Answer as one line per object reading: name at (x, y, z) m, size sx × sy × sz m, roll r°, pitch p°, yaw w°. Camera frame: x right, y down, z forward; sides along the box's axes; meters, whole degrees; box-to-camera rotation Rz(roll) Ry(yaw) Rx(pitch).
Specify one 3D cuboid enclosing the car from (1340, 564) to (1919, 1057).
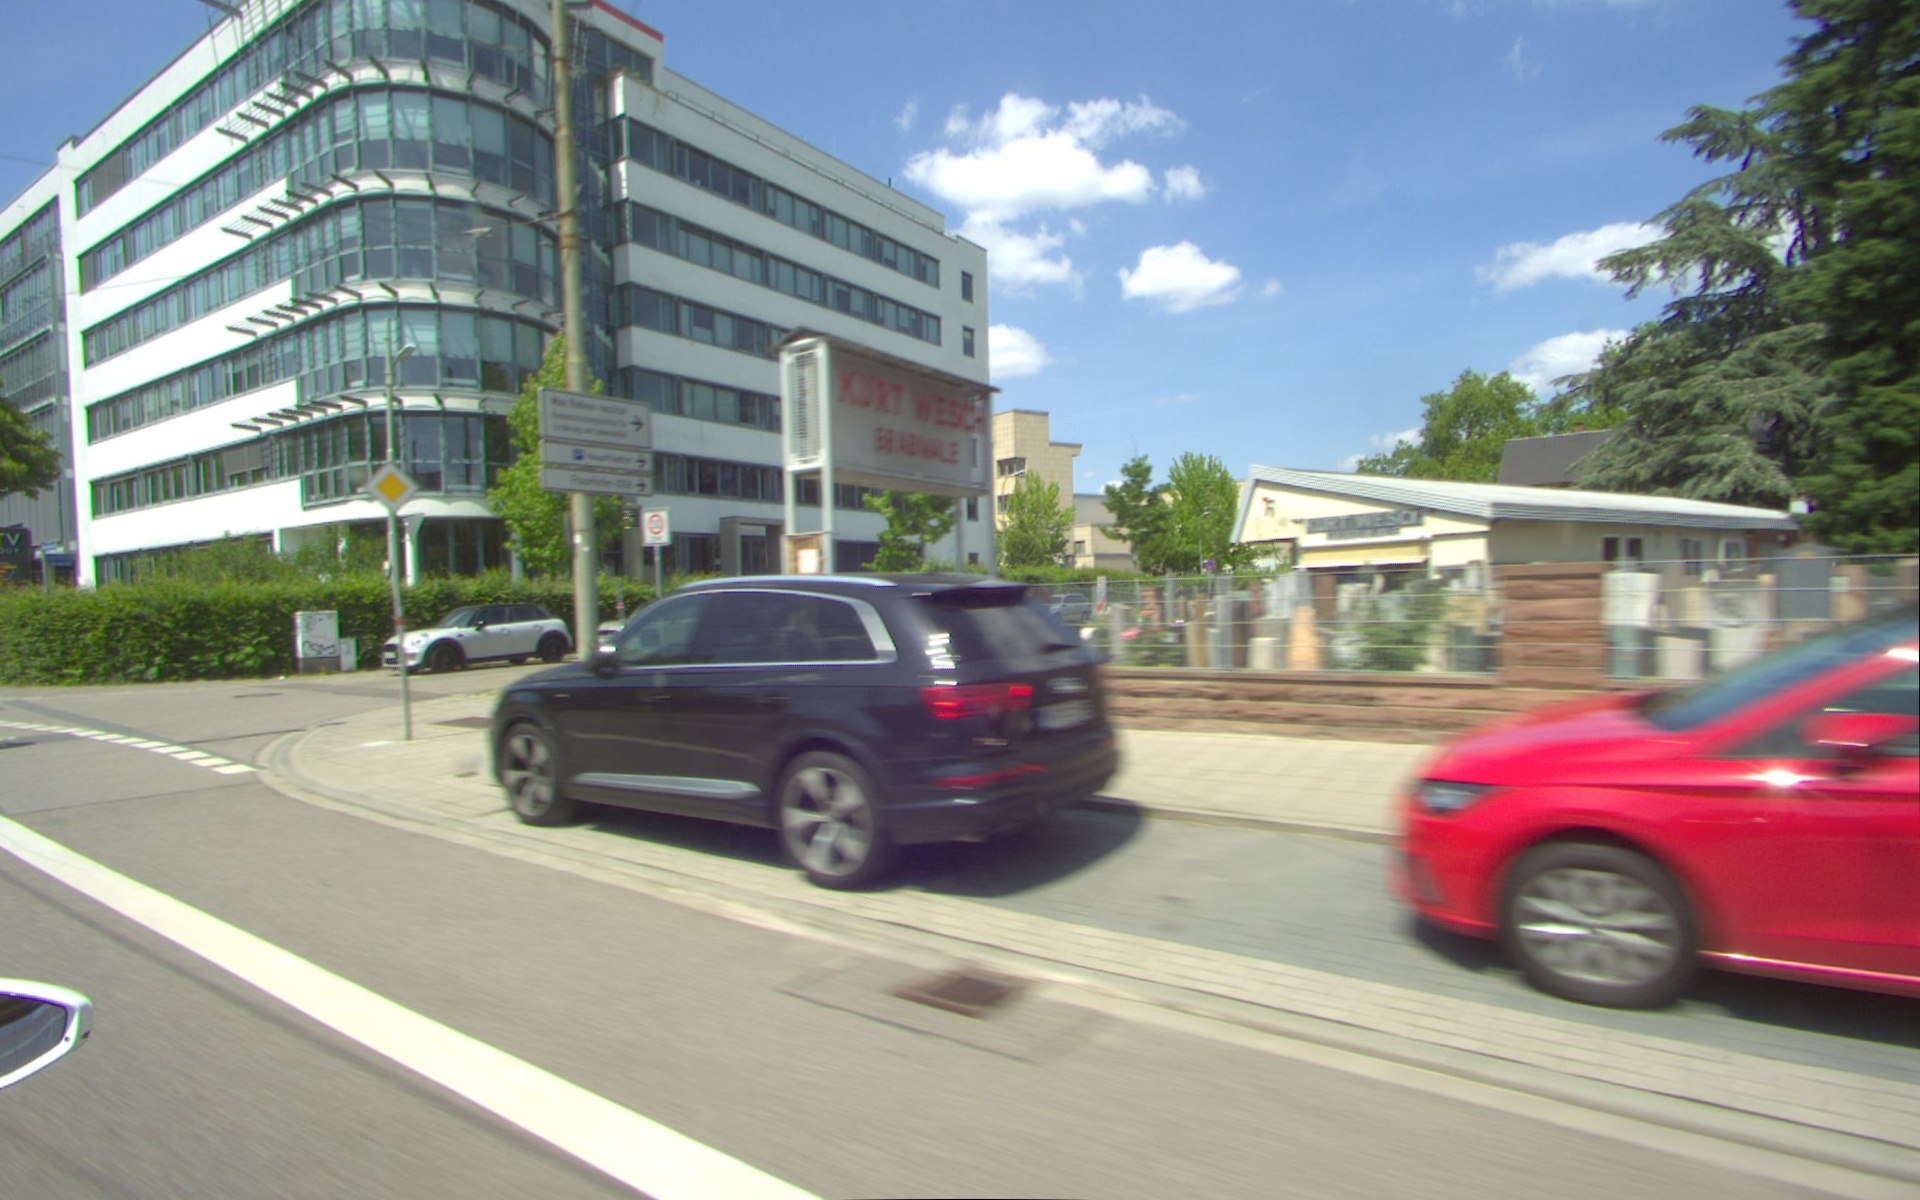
car at (3.670, 0.625, 3.581) m, size 4.018 × 1.472 × 1.706 m, roll -2°, pitch 2°, yaw 35°

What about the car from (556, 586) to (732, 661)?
car at (-8.312, 0.571, 26.673) m, size 1.934 × 1.823 × 4.134 m, roll -1°, pitch 0°, yaw 35°

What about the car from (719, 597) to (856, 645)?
car at (-5.294, 0.630, 31.138) m, size 1.973 × 1.352 × 3.975 m, roll -1°, pitch 0°, yaw 35°

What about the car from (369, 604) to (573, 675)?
car at (-10.831, 0.832, 22.411) m, size 1.535 × 1.292 × 3.786 m, roll -1°, pitch 2°, yaw 35°

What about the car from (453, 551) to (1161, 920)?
car at (-1.306, 0.655, 6.860) m, size 4.937 × 1.710 × 1.855 m, roll -2°, pitch 1°, yaw 37°

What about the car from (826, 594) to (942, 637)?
car at (-2.587, 0.524, 35.008) m, size 1.973 × 1.385 × 3.975 m, roll -1°, pitch 0°, yaw 35°
